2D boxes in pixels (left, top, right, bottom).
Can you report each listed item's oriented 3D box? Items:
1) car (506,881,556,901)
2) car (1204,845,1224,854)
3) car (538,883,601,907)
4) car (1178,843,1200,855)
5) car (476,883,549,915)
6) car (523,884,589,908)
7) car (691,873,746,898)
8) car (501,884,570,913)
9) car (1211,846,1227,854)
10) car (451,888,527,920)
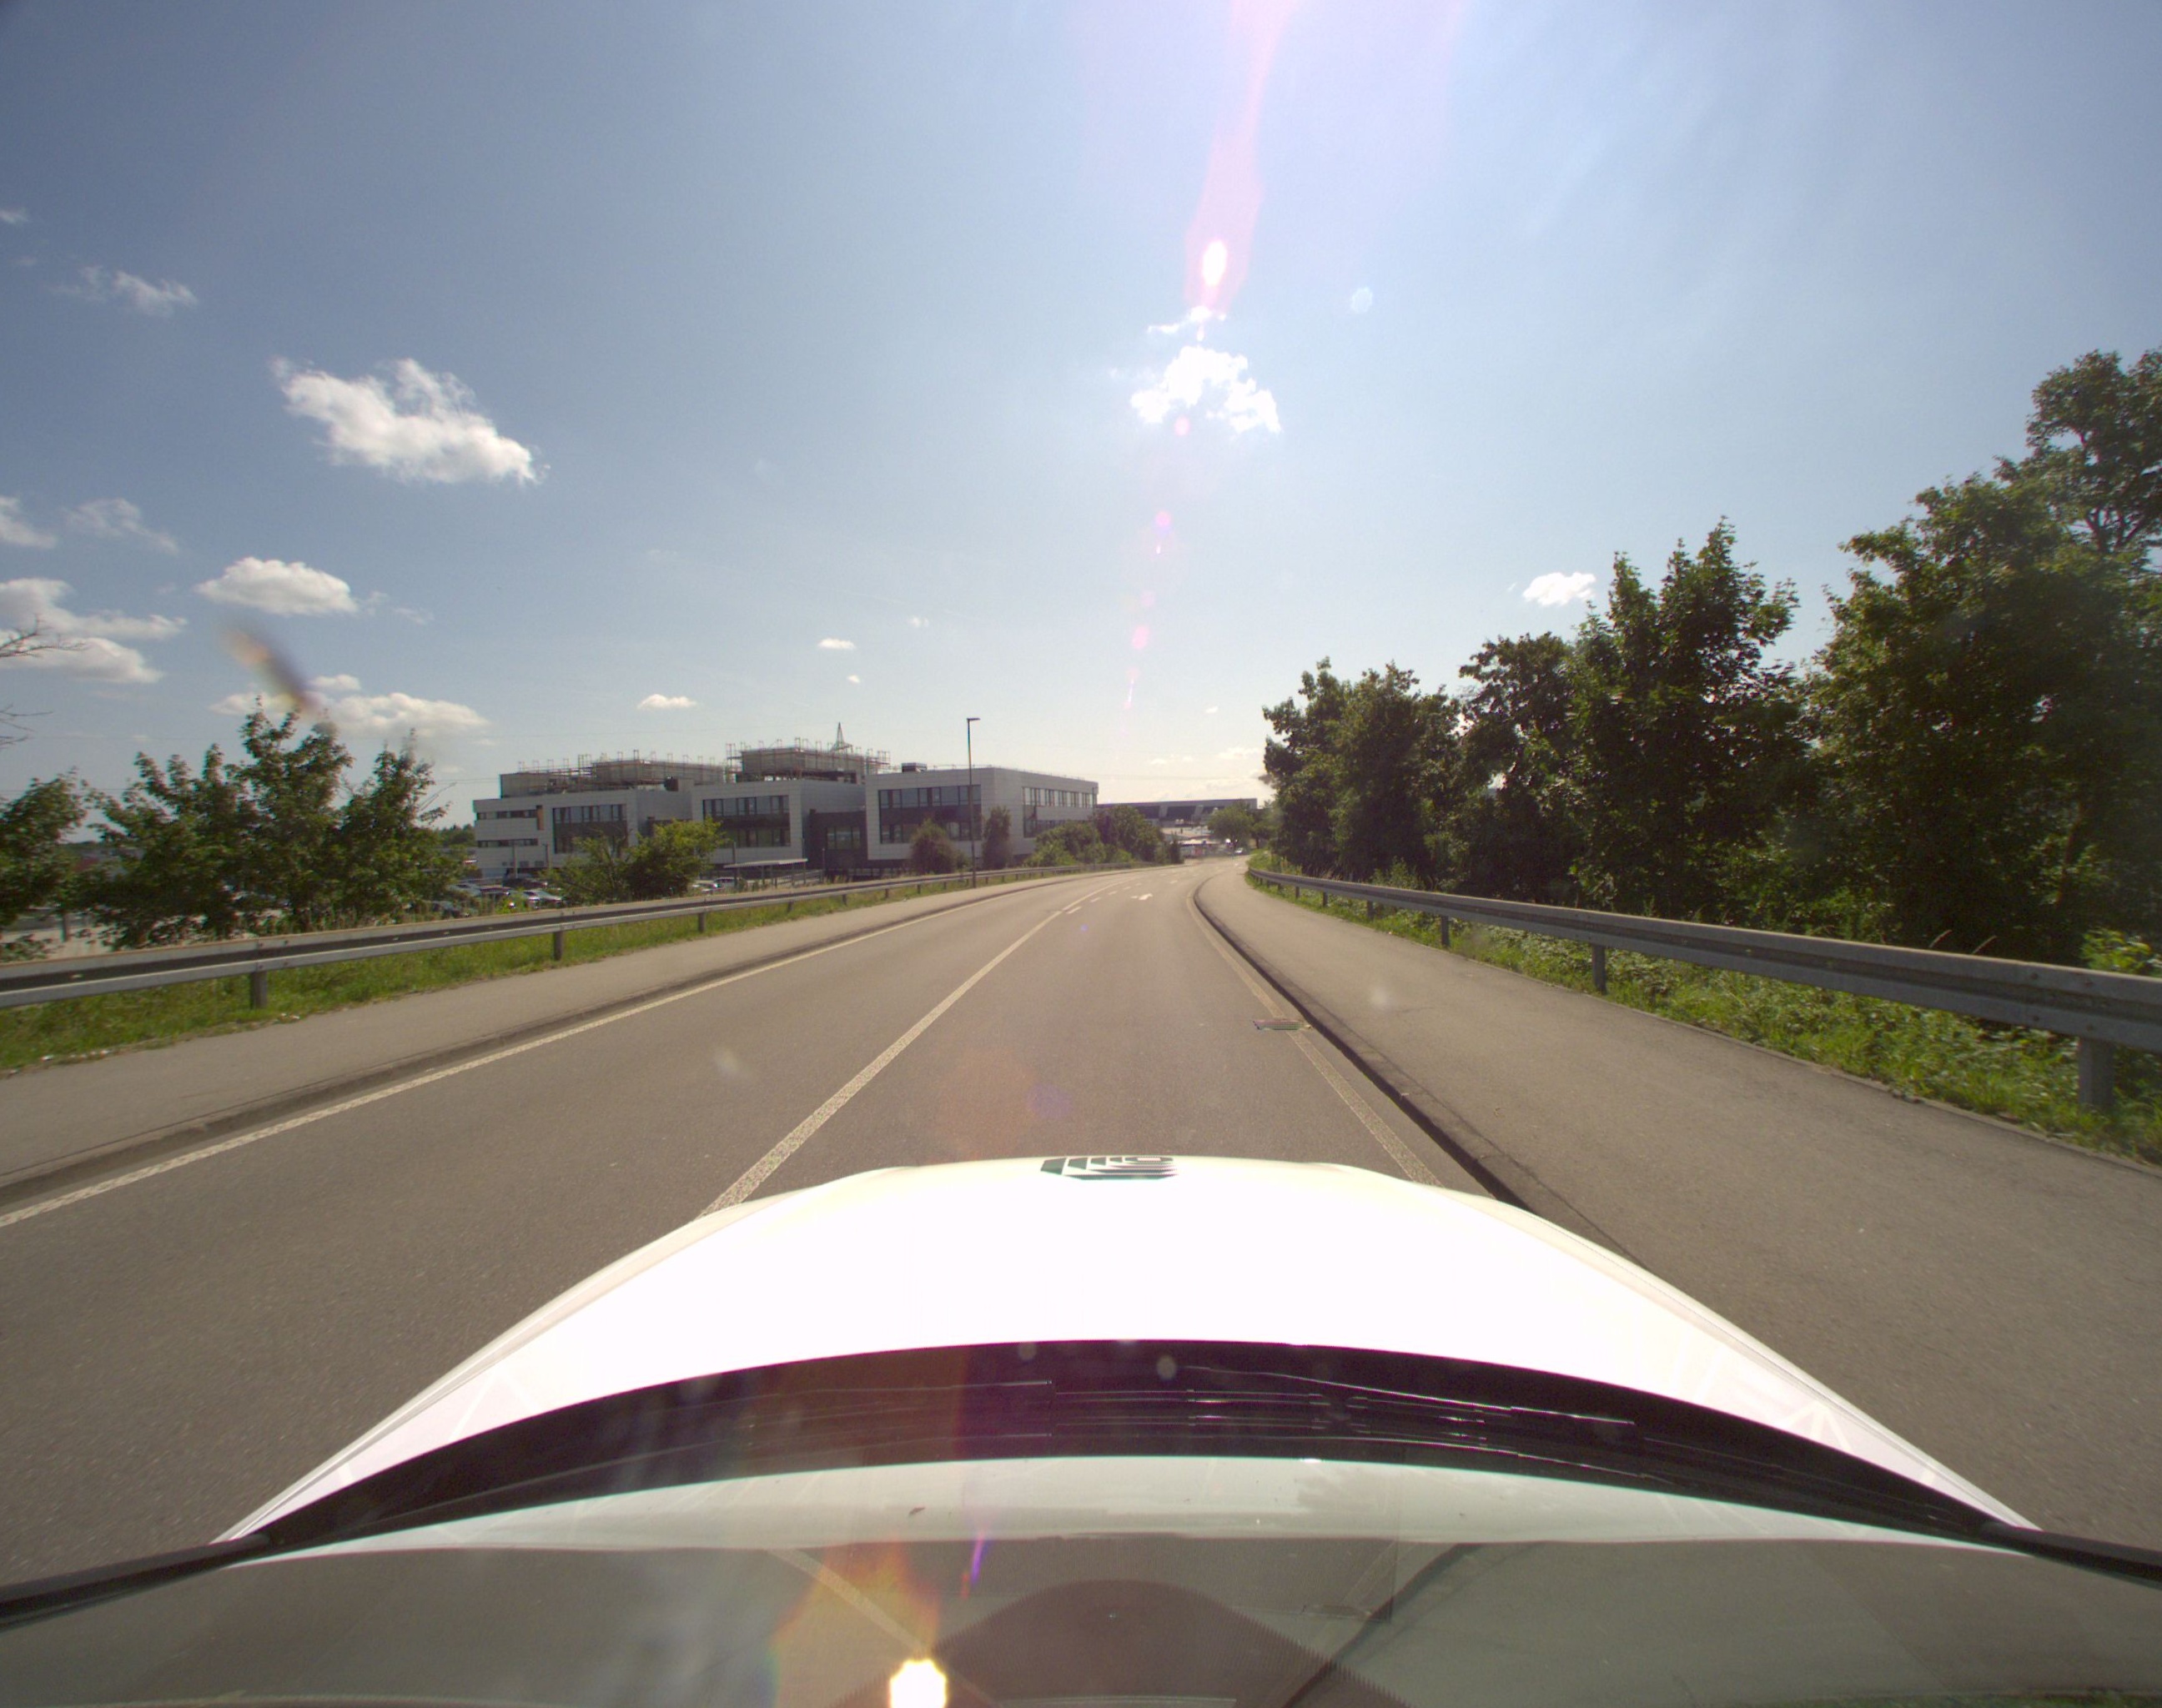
[{"bbox_3d":[-58.992,3.917,87.412,3.979,2.014,1.997,-1,0,-4],"label":"car"},{"bbox_3d":[28.774,-0.921,176.166,2.012,1.903,3.951,-3,3,-44],"label":"car"},{"bbox_3d":[-42.862,3.439,68.333,3.971,1.708,2.001,-3,-1,2],"label":"car"},{"bbox_3d":[22.643,-1.060,171.151,2.011,2.608,4.312,-1,0,-43],"label":"car"},{"bbox_3d":[-42.530,3.346,60.969,3.971,2.013,2.001,-3,1,2],"label":"car"},{"bbox_3d":[-42.460,3.415,65.962,3.971,1.684,2.001,-3,-1,2],"label":"car"},{"bbox_3d":[-32.601,2.815,73.317,3.978,2.013,1.959,0,2,-4],"label":"car"},{"bbox_3d":[-42.447,3.437,63.395,3.971,2.014,2.001,-3,-1,2],"label":"car"},{"bbox_3d":[35.029,-0.945,207.390,3.965,1.850,1.839,-1,1,7],"label":"car"},{"bbox_3d":[-42.562,3.552,58.606,3.971,2.014,2.001,-3,-1,2],"label":"car"}]
